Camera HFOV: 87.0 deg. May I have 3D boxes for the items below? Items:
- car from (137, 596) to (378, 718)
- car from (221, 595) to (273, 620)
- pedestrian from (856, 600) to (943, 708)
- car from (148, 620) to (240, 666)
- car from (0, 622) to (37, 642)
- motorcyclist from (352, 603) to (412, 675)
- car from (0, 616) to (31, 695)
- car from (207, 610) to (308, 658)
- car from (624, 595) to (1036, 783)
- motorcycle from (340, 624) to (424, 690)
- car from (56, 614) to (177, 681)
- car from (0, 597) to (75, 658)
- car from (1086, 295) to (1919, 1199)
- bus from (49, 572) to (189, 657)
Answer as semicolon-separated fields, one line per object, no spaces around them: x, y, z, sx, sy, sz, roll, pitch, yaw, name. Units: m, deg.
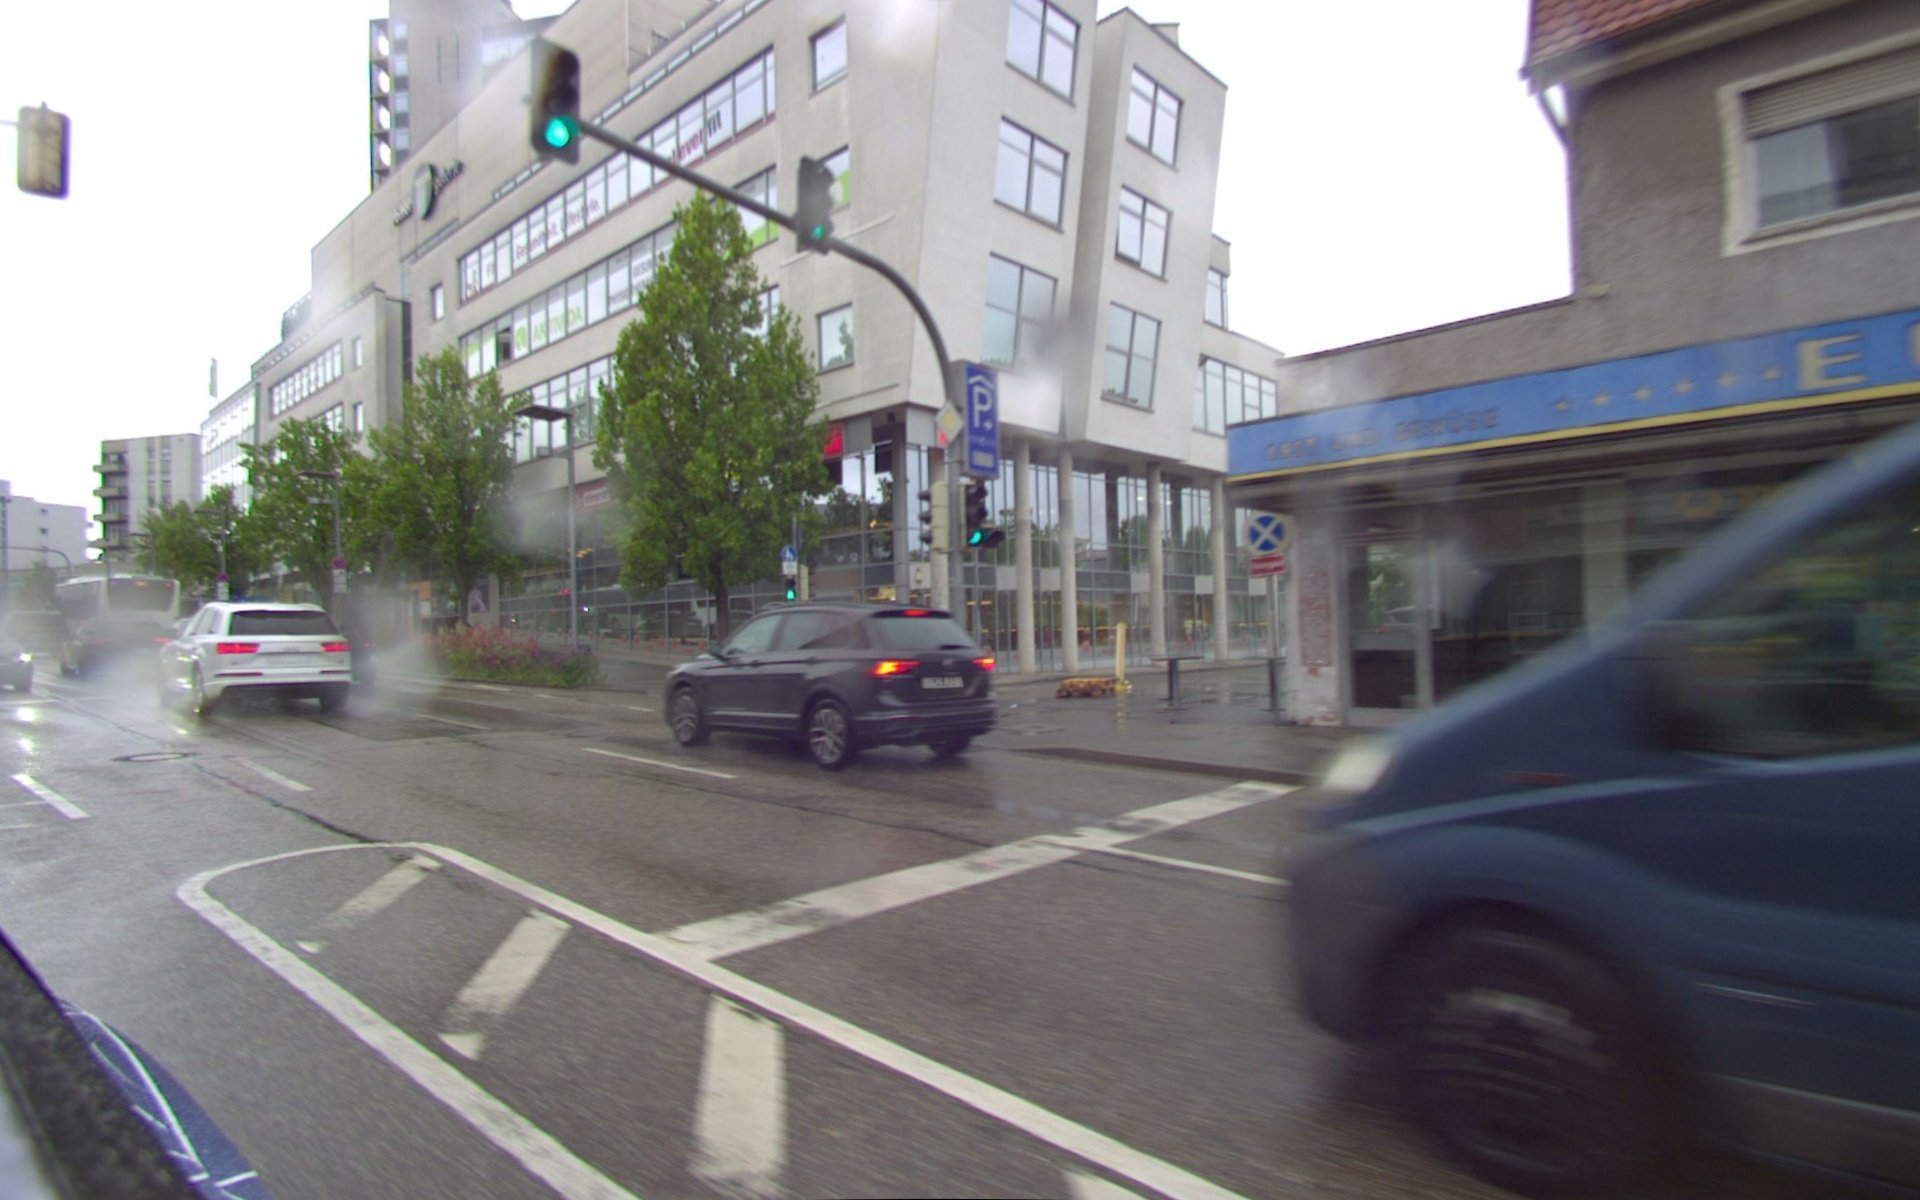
-11.649;0.835;16.643;4.846;1.725;2.077;0;-1;40;car
-42.005;0.466;59.610;3.730;1.421;1.734;0;-1;43;car
-1.057;0.913;17.694;1.233;1.802;0.915;0;-1;41;pedestrian
-23.974;1.307;31.633;3.600;1.348;1.623;0;-1;42;car
-66.533;2.244;71.393;4.704;1.356;1.613;0;-2;43;car
-12.158;0.796;21.278;1.140;1.467;0.776;-1;-1;43;motorcyclist
-19.871;1.042;19.929;4.193;1.461;1.699;0;-1;39;car
-24.746;1.158;35.617;3.997;1.608;1.973;0;-1;40;car
-1.663;0.800;11.245;1.978;1.630;4.952;1;-1;-44;car
-12.163;1.166;21.270;2.185;1.293;0.897;0;-1;43;motorcycle
-20.285;1.073;24.285;4.381;1.445;1.738;0;-1;44;car
-32.376;0.928;35.481;4.285;2.029;1.615;0;-1;44;car
2.974;0.418;2.145;5.176;1.953;1.945;0;-1;41;car
-35.296;0.592;42.233;11.997;3.123;2.861;0;-1;42;bus
